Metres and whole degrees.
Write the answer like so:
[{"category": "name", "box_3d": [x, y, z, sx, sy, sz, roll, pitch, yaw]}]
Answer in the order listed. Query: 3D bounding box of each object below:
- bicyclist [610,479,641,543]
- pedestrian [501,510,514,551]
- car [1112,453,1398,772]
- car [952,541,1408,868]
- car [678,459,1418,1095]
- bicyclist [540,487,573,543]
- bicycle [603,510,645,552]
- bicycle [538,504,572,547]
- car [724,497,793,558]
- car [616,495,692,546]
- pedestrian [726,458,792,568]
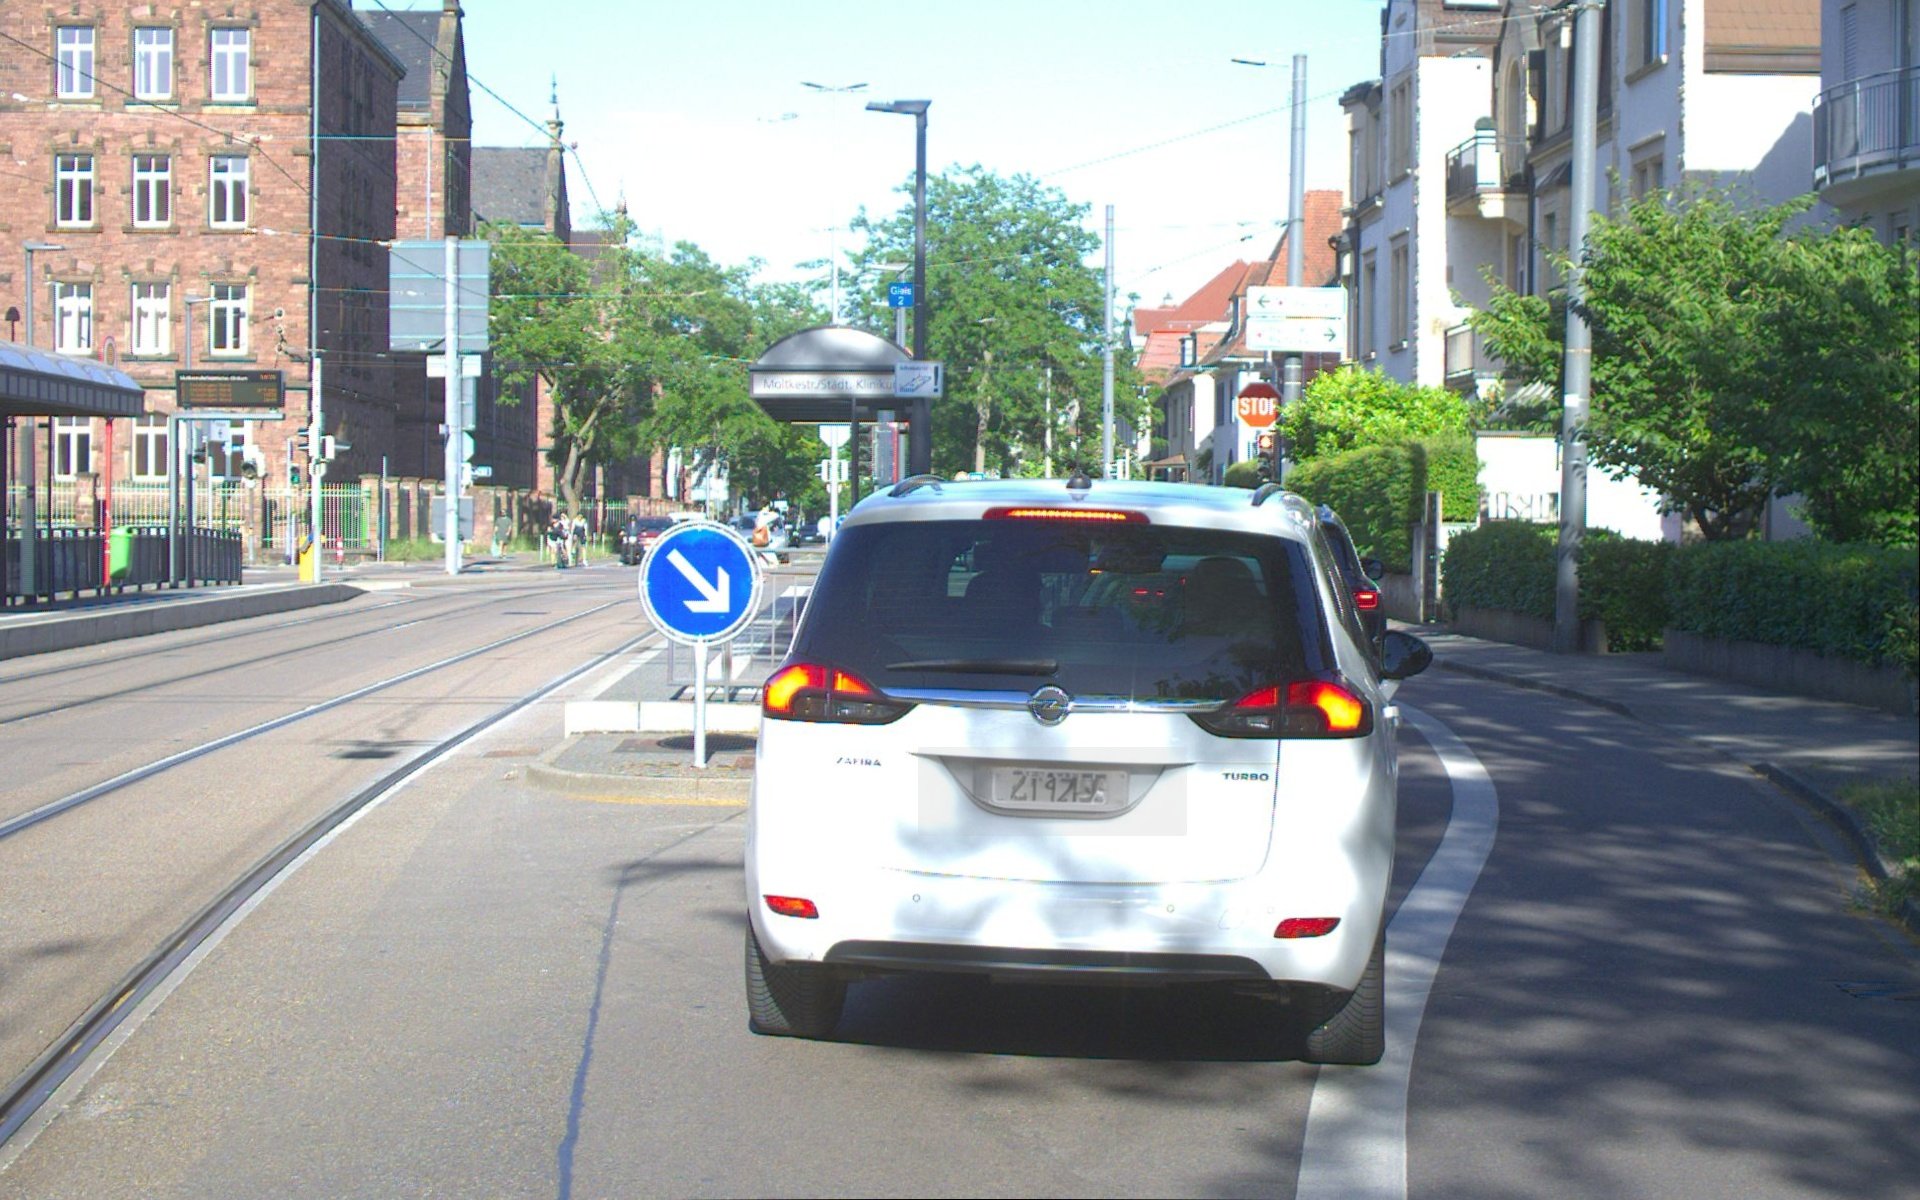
[{"category": "bicyclist", "box_3d": [-10.608, -2.814, 109.027, 0.950, 2.007, 0.824, 0, 1, -4]}, {"category": "pedestrian", "box_3d": [-16.159, -2.485, 122.695, 0.361, 1.433, 0.549, 1, 1, 1]}, {"category": "car", "box_3d": [2.105, 0.029, 23.683, 1.709, 2.007, 3.905, 0, 1, 9]}, {"category": "car", "box_3d": [1.246, 0.432, 17.571, 1.994, 1.437, 3.999, 0, 1, 8]}, {"category": "car", "box_3d": [0.467, 0.460, 10.925, 1.893, 1.605, 4.227, 0, 0, 7]}, {"category": "bicyclist", "box_3d": [-12.504, -2.631, 106.491, 0.943, 1.728, 0.861, 1, 1, -1]}, {"category": "bicycle", "box_3d": [-10.645, -2.197, 109.045, 1.148, 1.292, 2.861, 0, 1, -2]}, {"category": "bicycle", "box_3d": [-12.511, -2.299, 106.210, 0.821, 1.292, 2.678, 0, 1, -2]}, {"category": "car", "box_3d": [-6.468, -2.324, 110.688, 1.993, 1.907, 4.000, 0, 1, 0]}, {"category": "car", "box_3d": [-10.404, -2.712, 117.273, 1.994, 1.716, 4.000, 1, 1, 4]}, {"category": "pedestrian", "box_3d": [-3.772, -1.642, 64.347, 1.155, 2.006, 1.120, -2, 3, -4]}]
